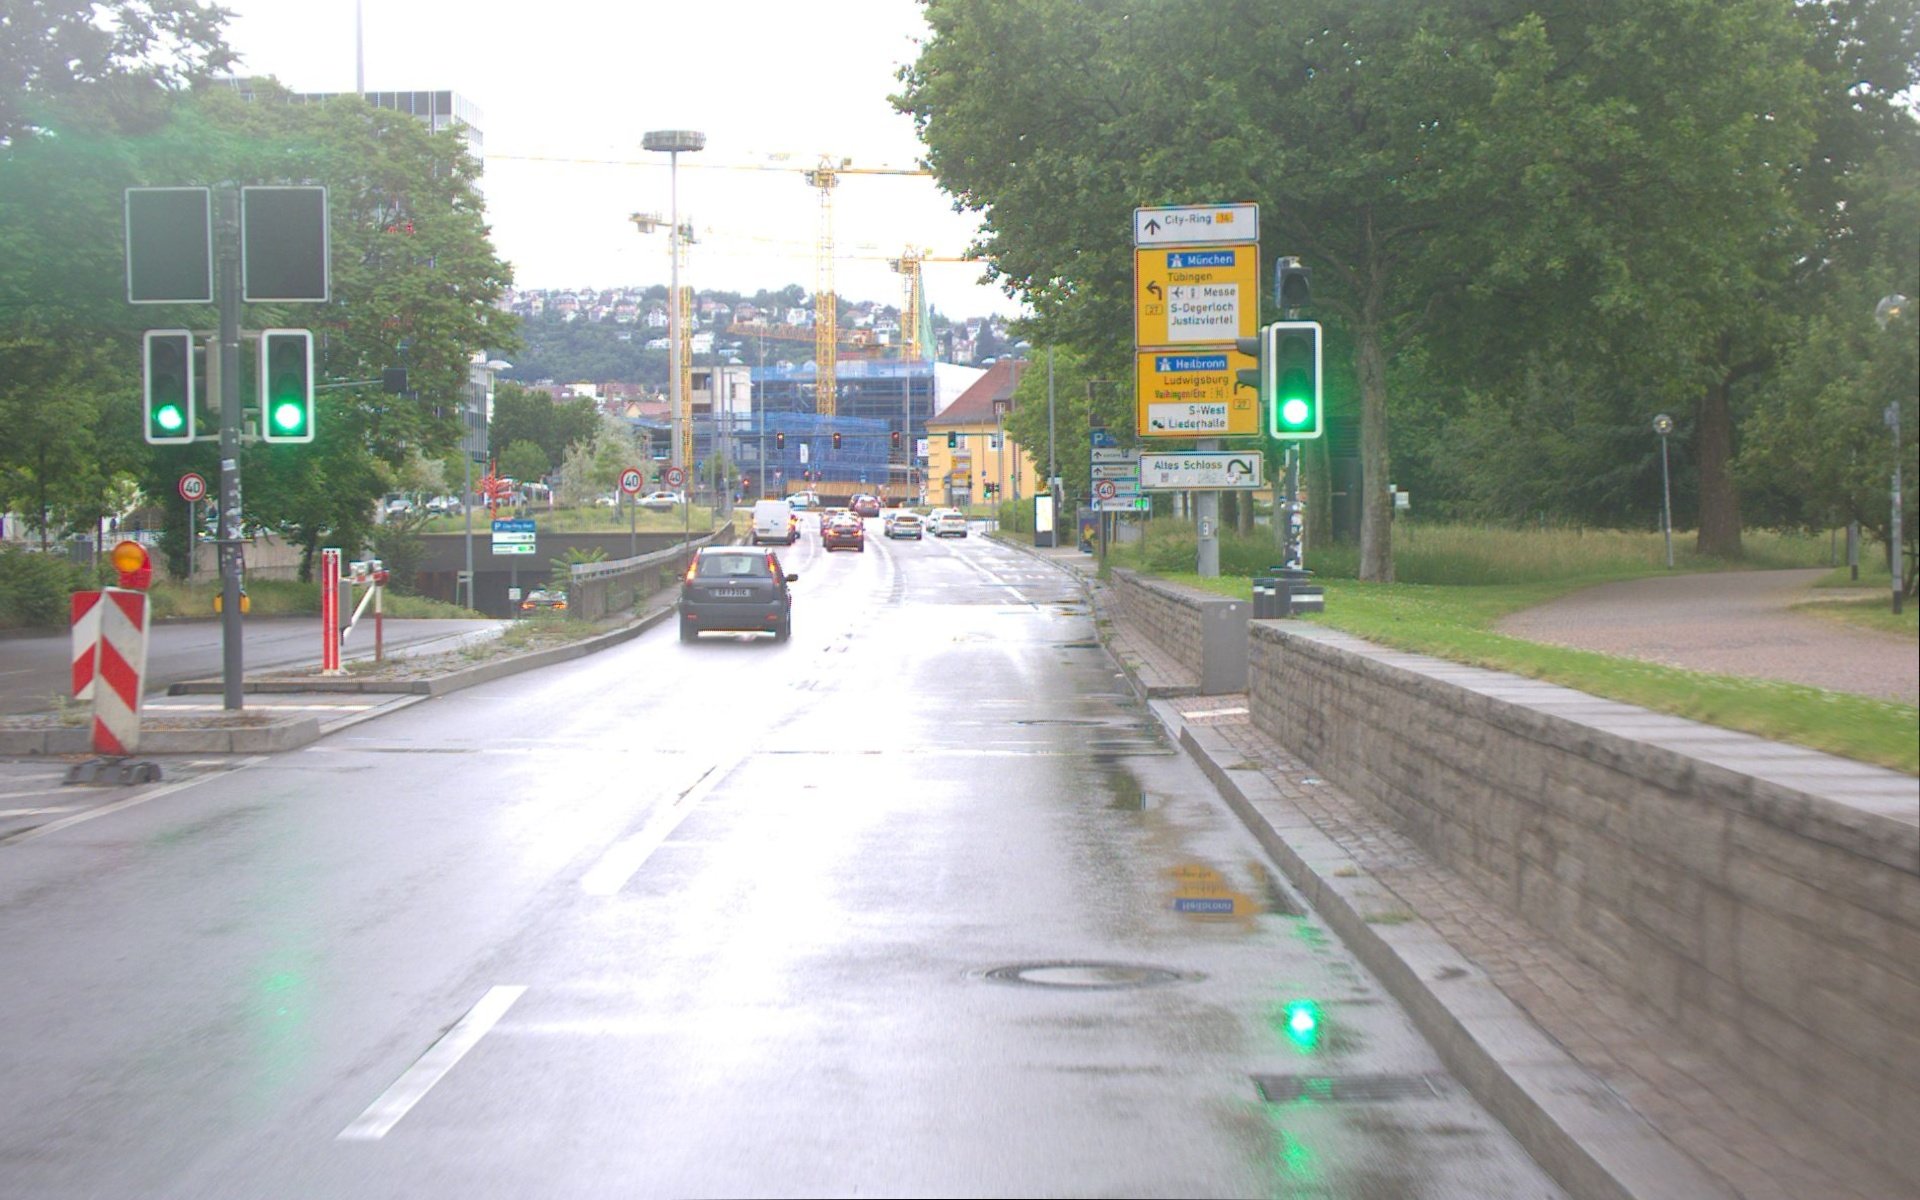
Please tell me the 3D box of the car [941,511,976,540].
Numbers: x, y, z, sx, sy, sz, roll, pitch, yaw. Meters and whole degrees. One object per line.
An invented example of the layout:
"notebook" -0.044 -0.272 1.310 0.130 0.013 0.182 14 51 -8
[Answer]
"car" -0.082 -4.420 205.232 1.993 1.594 4.000 -2 0 1

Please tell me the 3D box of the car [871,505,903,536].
"car" -4.281 -4.700 202.951 1.713 1.684 3.849 -2 0 1

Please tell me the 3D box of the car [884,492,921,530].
"car" -3.318 -5.099 196.906 1.987 2.007 4.000 -2 0 -2

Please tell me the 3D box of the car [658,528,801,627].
"car" -3.593 -0.337 53.054 1.843 1.411 3.840 -2 0 -8

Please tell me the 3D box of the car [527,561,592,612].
"car" -14.798 -0.502 127.324 1.993 1.774 4.000 -1 1 -1

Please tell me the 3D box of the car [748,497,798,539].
"car" -9.733 -4.283 179.424 2.220 2.007 4.000 -3 0 1

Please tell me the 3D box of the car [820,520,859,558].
"car" -5.915 -2.972 169.247 1.739 1.765 4.000 -2 0 0

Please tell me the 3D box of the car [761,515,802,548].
"car" -10.195 -3.890 196.626 1.993 1.776 4.000 -2 0 1

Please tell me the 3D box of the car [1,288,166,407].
"car" -13.700 -3.927 53.953 1.993 1.626 4.001 0 1 -7
